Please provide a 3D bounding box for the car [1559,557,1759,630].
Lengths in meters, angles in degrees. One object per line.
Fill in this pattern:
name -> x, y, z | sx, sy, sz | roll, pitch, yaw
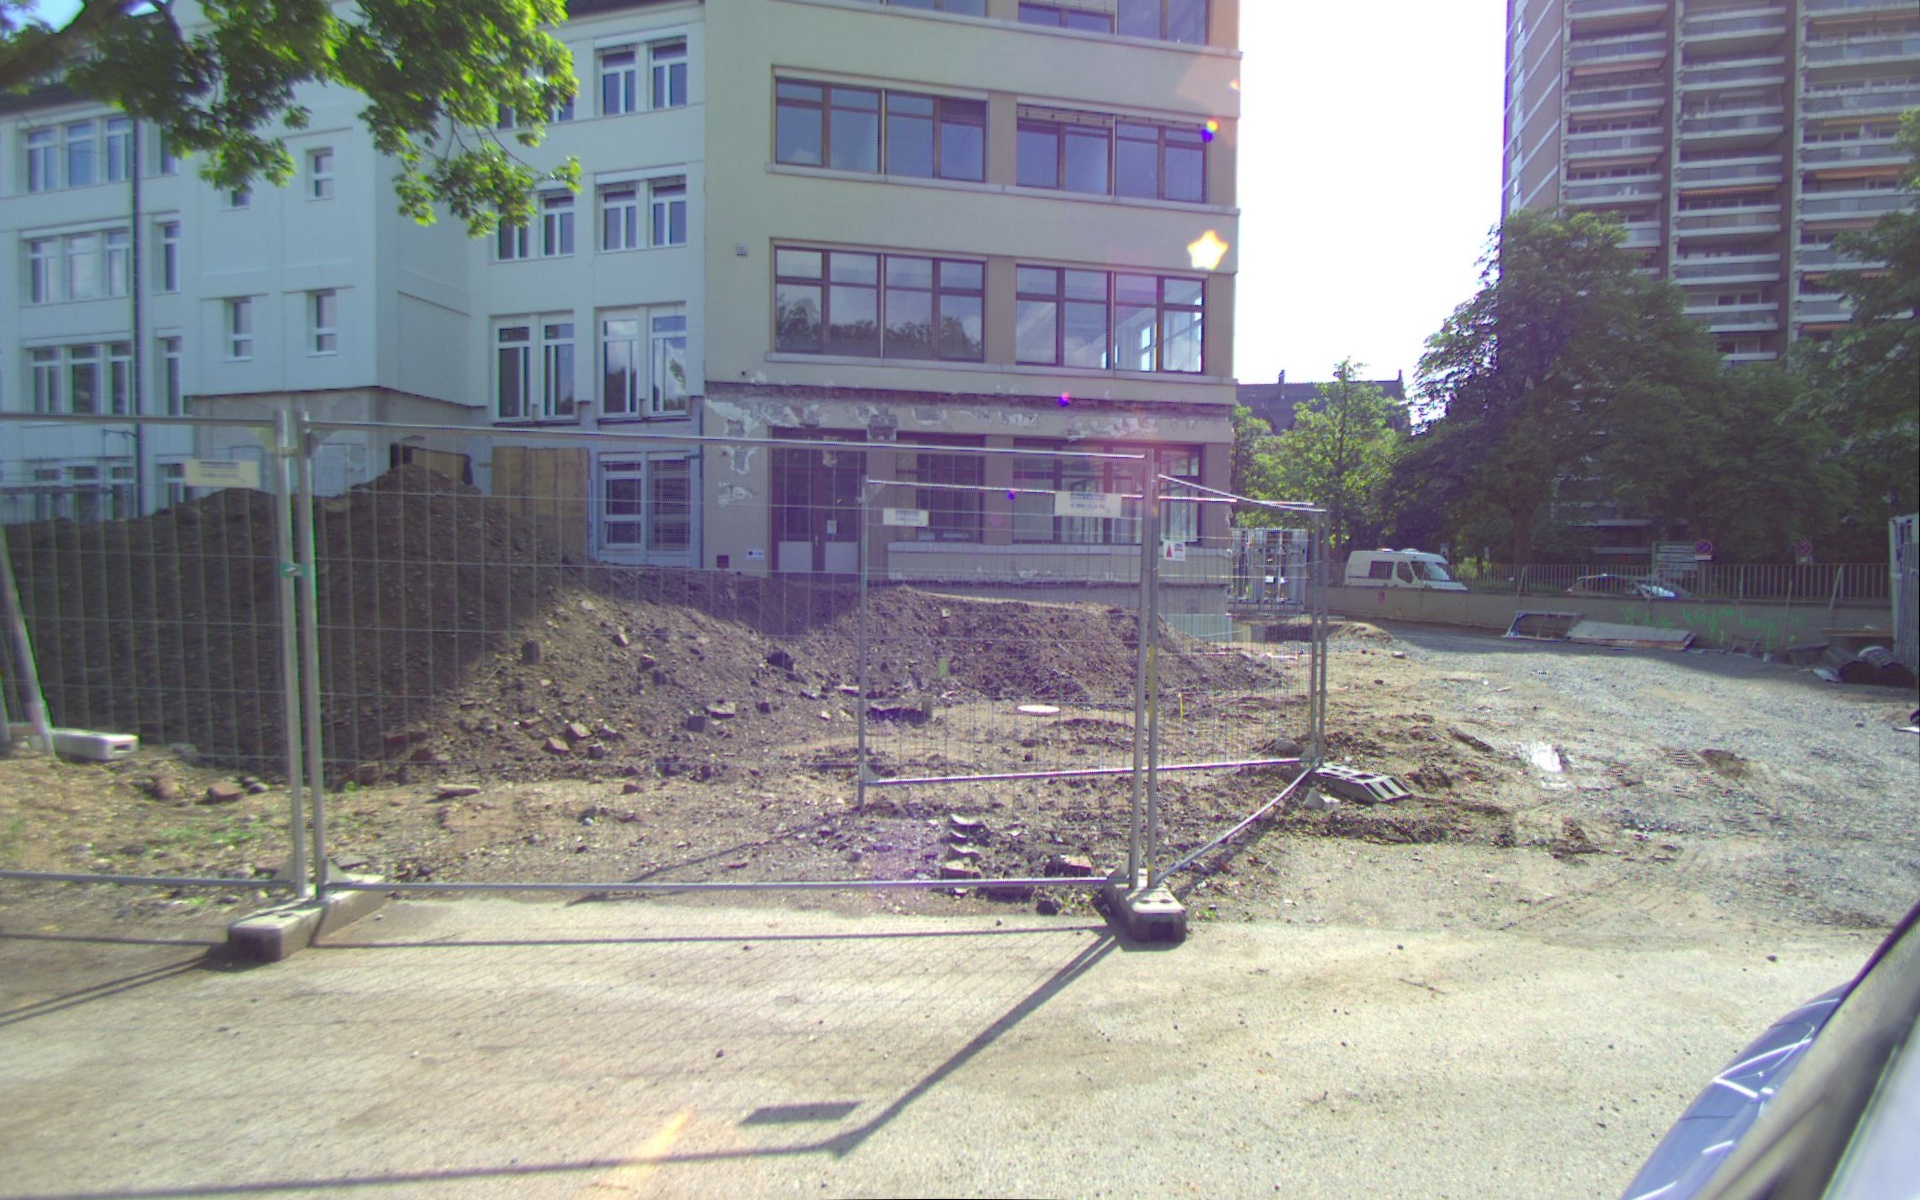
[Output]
car -> 19.218, -0.227, 28.130 | 1.819, 1.852, 4.564 | 1, 1, -11

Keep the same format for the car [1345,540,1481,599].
car -> 16.978, -1.142, 38.334 | 1.958, 2.038, 5.319 | 1, 1, -11
